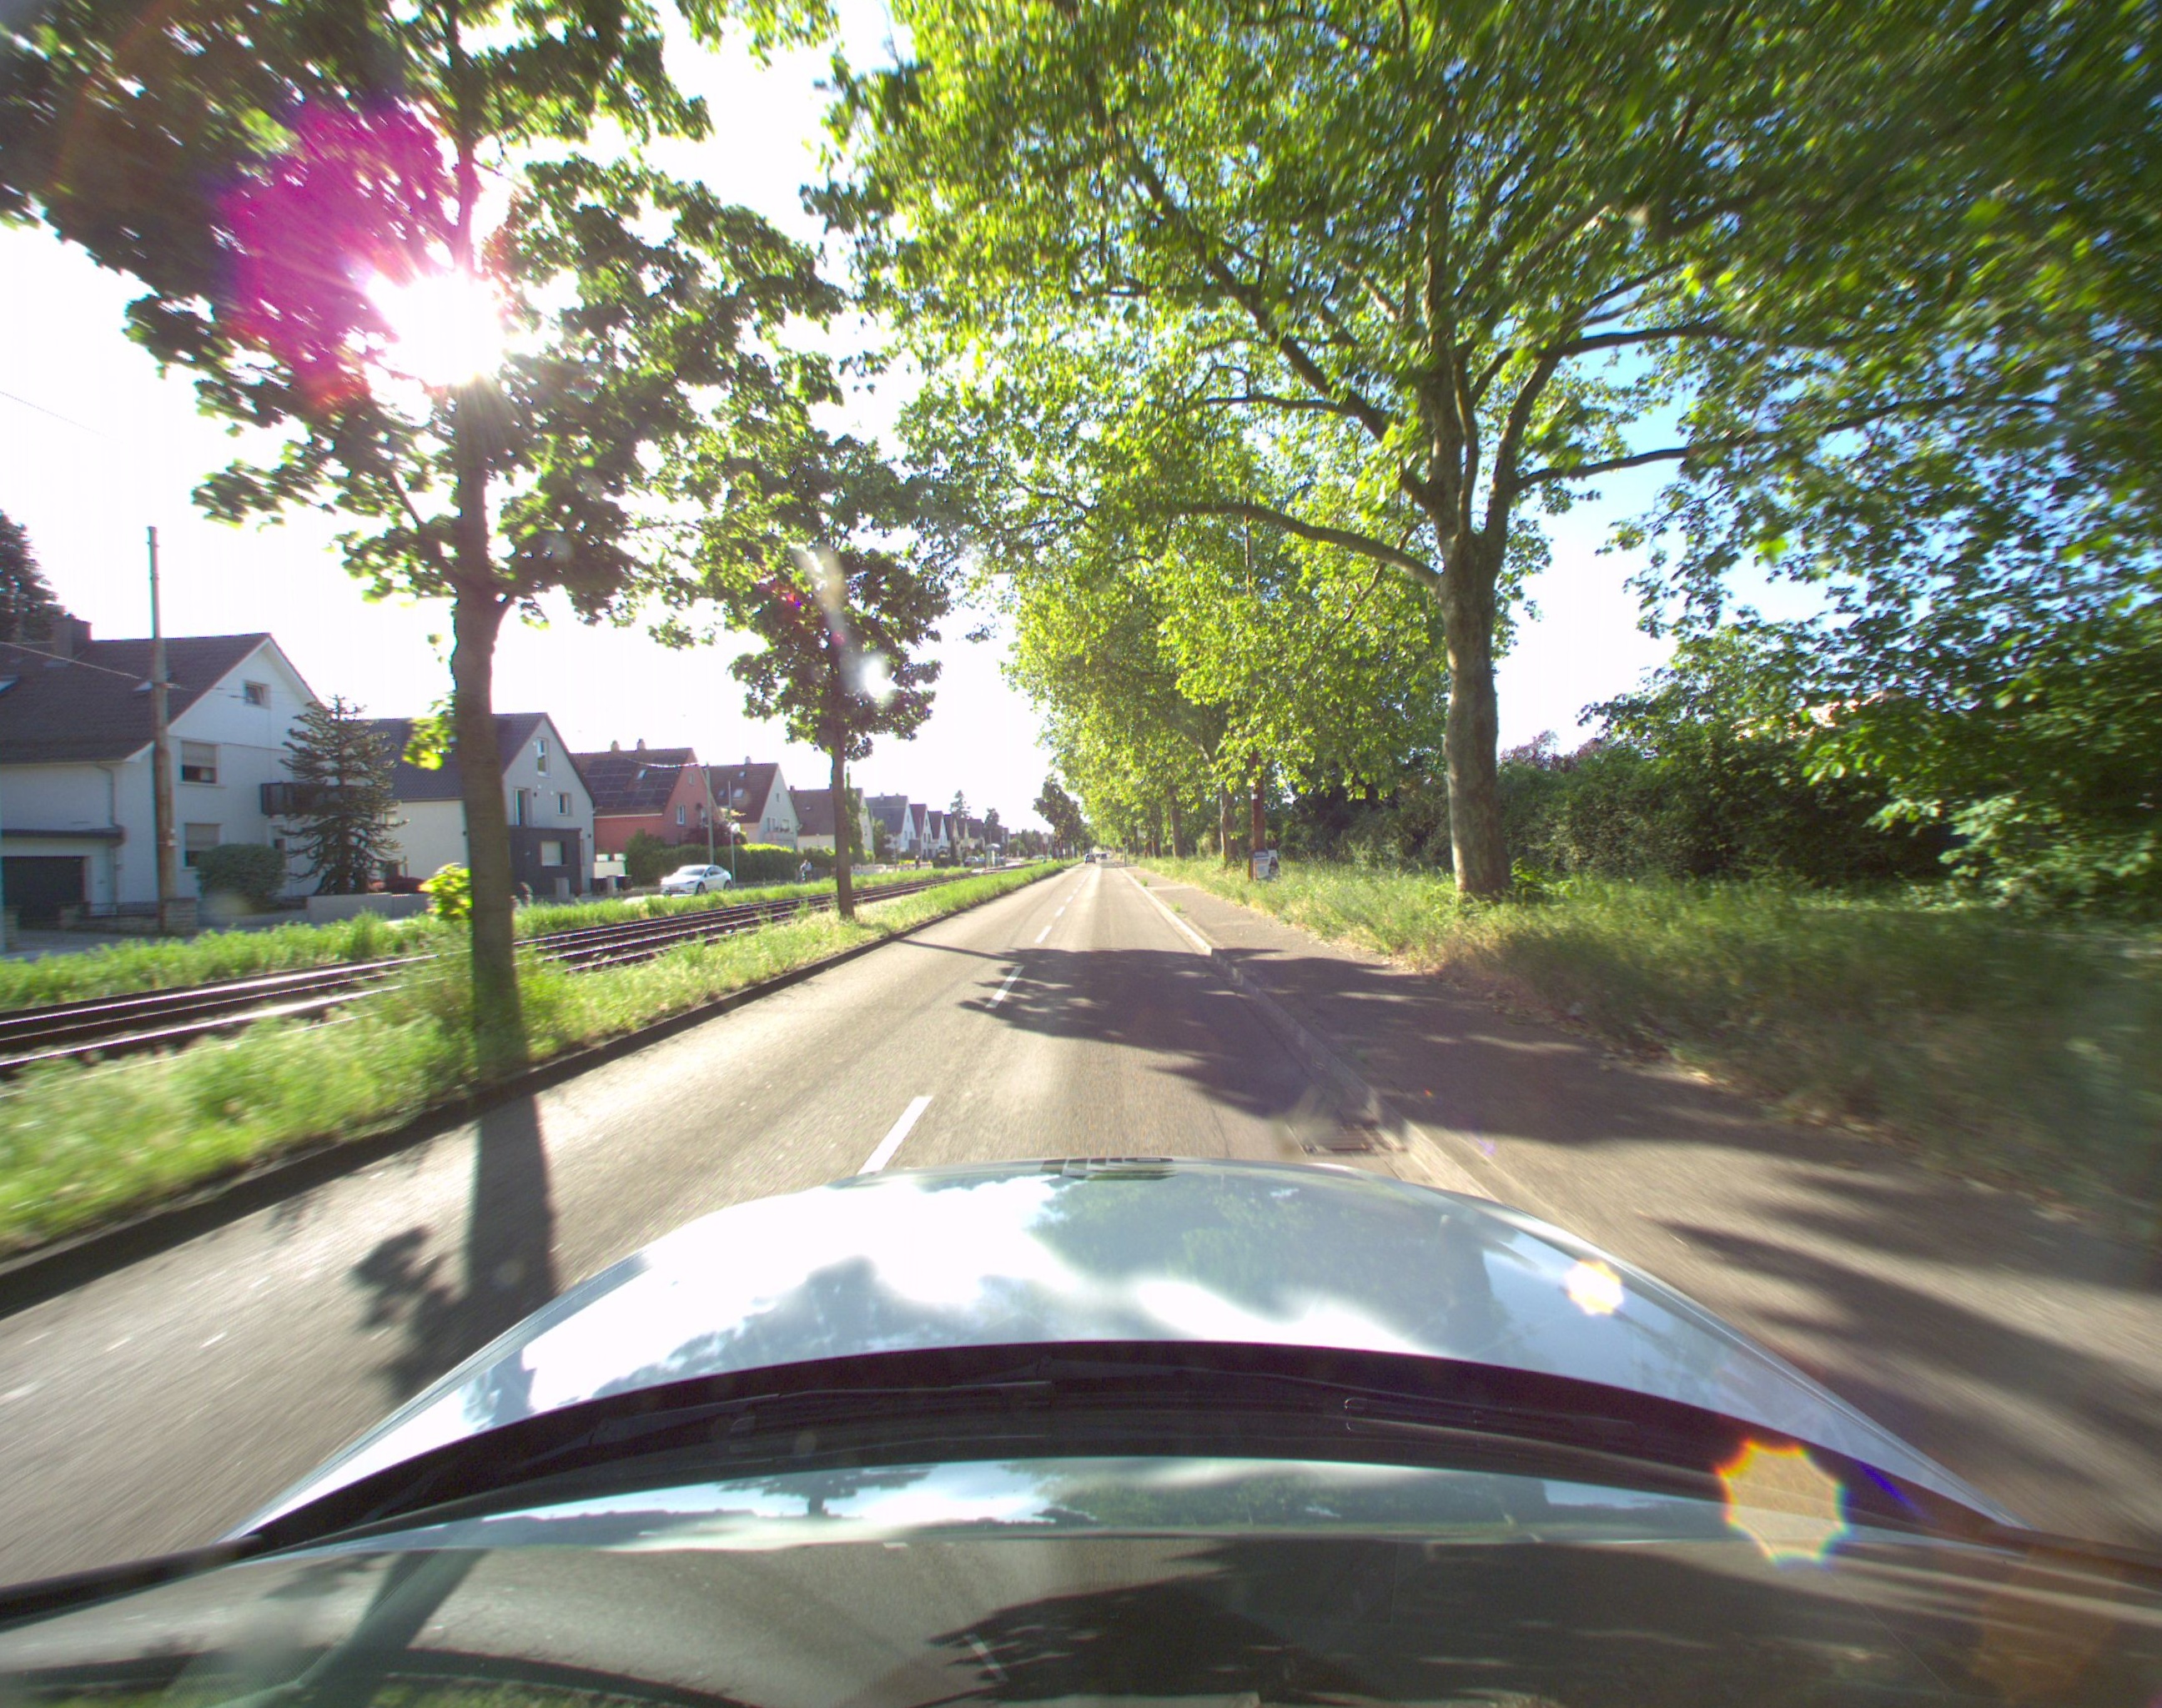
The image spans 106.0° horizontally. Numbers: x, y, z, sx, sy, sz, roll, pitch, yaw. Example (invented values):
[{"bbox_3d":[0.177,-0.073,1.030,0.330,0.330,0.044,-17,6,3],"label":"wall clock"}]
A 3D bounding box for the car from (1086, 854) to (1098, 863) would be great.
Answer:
[{"bbox_3d":[1.614,0.702,123.339,1.732,1.401,3.277,-1,0,1],"label":"car"}]

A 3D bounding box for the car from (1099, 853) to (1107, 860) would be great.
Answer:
[{"bbox_3d":[5.249,0.532,192.340,1.754,1.513,3.278,-1,0,2],"label":"car"}]

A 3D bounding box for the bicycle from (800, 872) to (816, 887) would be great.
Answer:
[{"bbox_3d":[-17.580,1.656,52.410,0.440,0.901,2.059,-1,0,-3],"label":"bicycle"}]

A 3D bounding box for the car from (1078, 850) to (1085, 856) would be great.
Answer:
[{"bbox_3d":[0.101,-0.310,216.456,1.521,1.455,3.289,-1,0,3],"label":"car"}]

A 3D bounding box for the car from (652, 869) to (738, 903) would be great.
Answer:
[{"bbox_3d":[-20.322,1.666,43.129,1.984,1.599,4.738,-1,0,5],"label":"car"}]

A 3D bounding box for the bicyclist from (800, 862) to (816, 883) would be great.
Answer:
[{"bbox_3d":[-17.611,1.188,52.606,0.796,1.278,0.736,-1,-1,-3],"label":"bicyclist"}]
